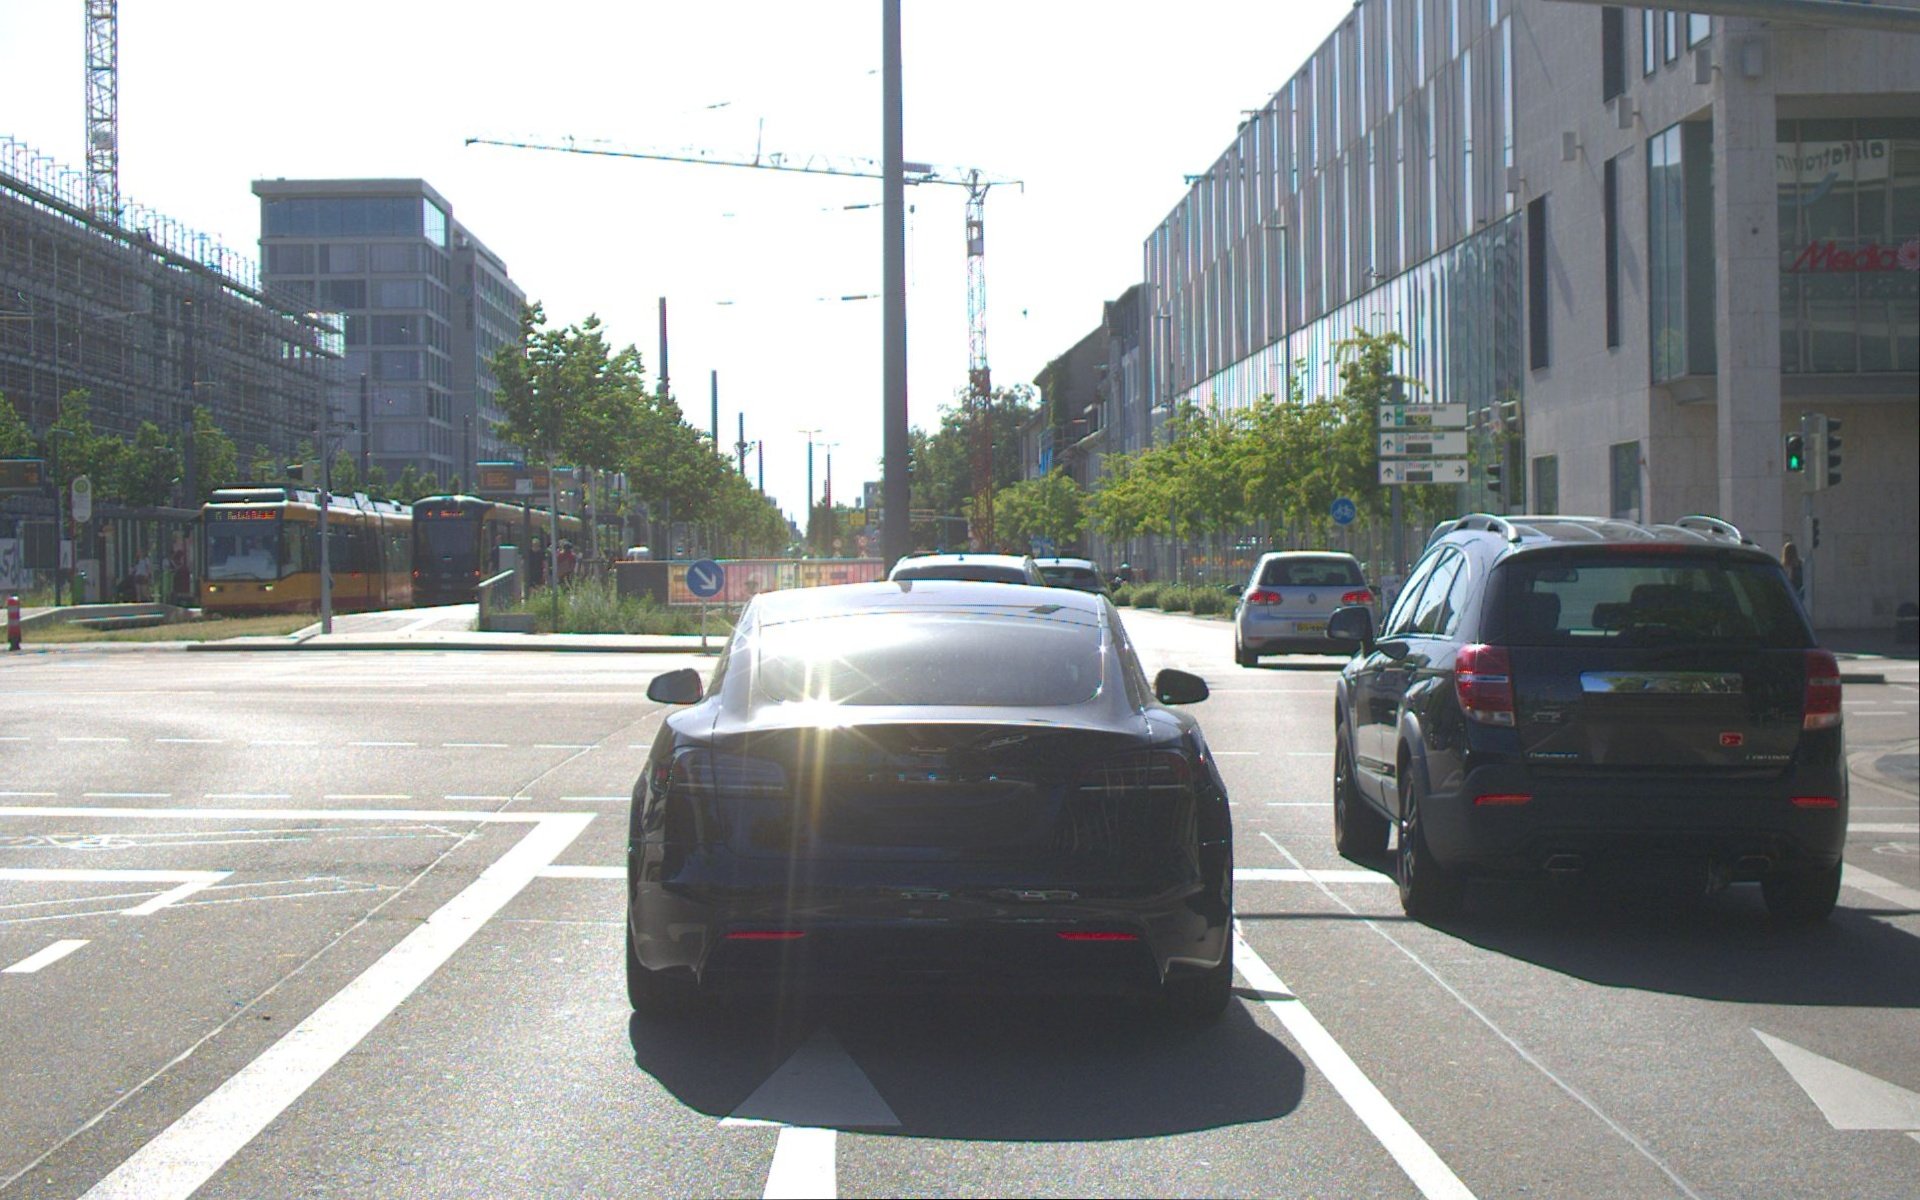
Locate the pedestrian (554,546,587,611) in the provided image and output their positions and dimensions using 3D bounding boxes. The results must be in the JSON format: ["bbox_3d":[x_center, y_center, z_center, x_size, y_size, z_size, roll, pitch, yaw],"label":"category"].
[{"bbox_3d":[-9.868,-0.550,87.042,0.741,1.623,0.861,0,0,0],"label":"pedestrian"}]

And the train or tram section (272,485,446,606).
[{"bbox_3d":[-18.005,-1.667,104.172,2.847,3.310,15.967,2,1,-2],"label":"train or tram section"}]

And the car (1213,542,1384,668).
[{"bbox_3d":[4.320,0.028,44.389,1.784,1.540,4.039,0,1,0],"label":"car"}]

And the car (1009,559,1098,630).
[{"bbox_3d":[1.932,-0.135,71.999,1.716,1.427,4.000,0,1,-1],"label":"car"}]

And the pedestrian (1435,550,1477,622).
[{"bbox_3d":[11.523,-0.329,79.825,0.706,1.652,0.900,-2,1,-6],"label":"pedestrian"}]

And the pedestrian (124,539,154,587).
[{"bbox_3d":[-21.412,-0.959,89.697,0.671,1.222,0.506,1,0,-4],"label":"pedestrian"}]

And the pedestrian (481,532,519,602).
[{"bbox_3d":[-11.918,-0.862,89.051,0.874,1.769,1.189,1,1,-4],"label":"pedestrian"}]

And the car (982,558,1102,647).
[{"bbox_3d":[1.238,0.015,53.418,1.716,1.315,4.000,0,1,-1],"label":"car"}]

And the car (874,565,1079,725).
[{"bbox_3d":[0.113,0.359,30.861,1.716,1.315,4.000,0,1,-1],"label":"car"}]

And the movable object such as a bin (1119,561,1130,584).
[{"bbox_3d":[8.514,-1.430,178.266,0.559,1.165,0.562,1,0,2],"label":"movable object such as a bin"}]

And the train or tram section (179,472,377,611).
[{"bbox_3d":[-17.605,-1.489,89.677,2.870,3.298,13.074,1,1,-2],"label":"train or tram section"}]

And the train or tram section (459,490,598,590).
[{"bbox_3d":[-15.552,-2.132,125.683,2.870,3.268,22.145,1,1,-2],"label":"train or tram section"}]

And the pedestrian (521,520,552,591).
[{"bbox_3d":[-10.595,-1.121,86.038,0.703,1.769,0.959,1,1,-4],"label":"pedestrian"}]

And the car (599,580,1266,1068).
[{"bbox_3d":[-0.095,0.664,12.555,1.999,1.429,4.413,0,1,0],"label":"car"}]

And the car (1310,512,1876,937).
[{"bbox_3d":[2.750,0.460,15.931,1.784,1.693,4.413,0,1,0],"label":"car"}]

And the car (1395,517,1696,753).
[{"bbox_3d":[4.747,0.217,27.435,1.786,1.728,4.160,0,1,18],"label":"car"}]

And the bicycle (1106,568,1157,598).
[{"bbox_3d":[6.845,-0.671,137.263,1.881,1.147,0.672,-2,1,-11],"label":"bicycle"}]

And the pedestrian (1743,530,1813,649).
[{"bbox_3d":[12.685,-0.168,53.328,0.728,1.795,1.066,-2,1,-1],"label":"pedestrian"}]

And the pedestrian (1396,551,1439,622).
[{"bbox_3d":[10.651,-0.319,80.066,0.821,1.652,0.900,0,0,-6],"label":"pedestrian"}]

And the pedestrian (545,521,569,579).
[{"bbox_3d":[-12.680,-1.566,108.202,0.671,1.804,1.075,-1,0,-2],"label":"pedestrian"}]

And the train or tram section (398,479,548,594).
[{"bbox_3d":[-14.993,-1.924,106.993,2.870,3.268,15.186,1,1,-2],"label":"train or tram section"}]

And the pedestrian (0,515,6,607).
[{"bbox_3d":[-19.526,-0.775,68.513,0.800,1.817,0.976,-1,1,-4],"label":"pedestrian"}]
